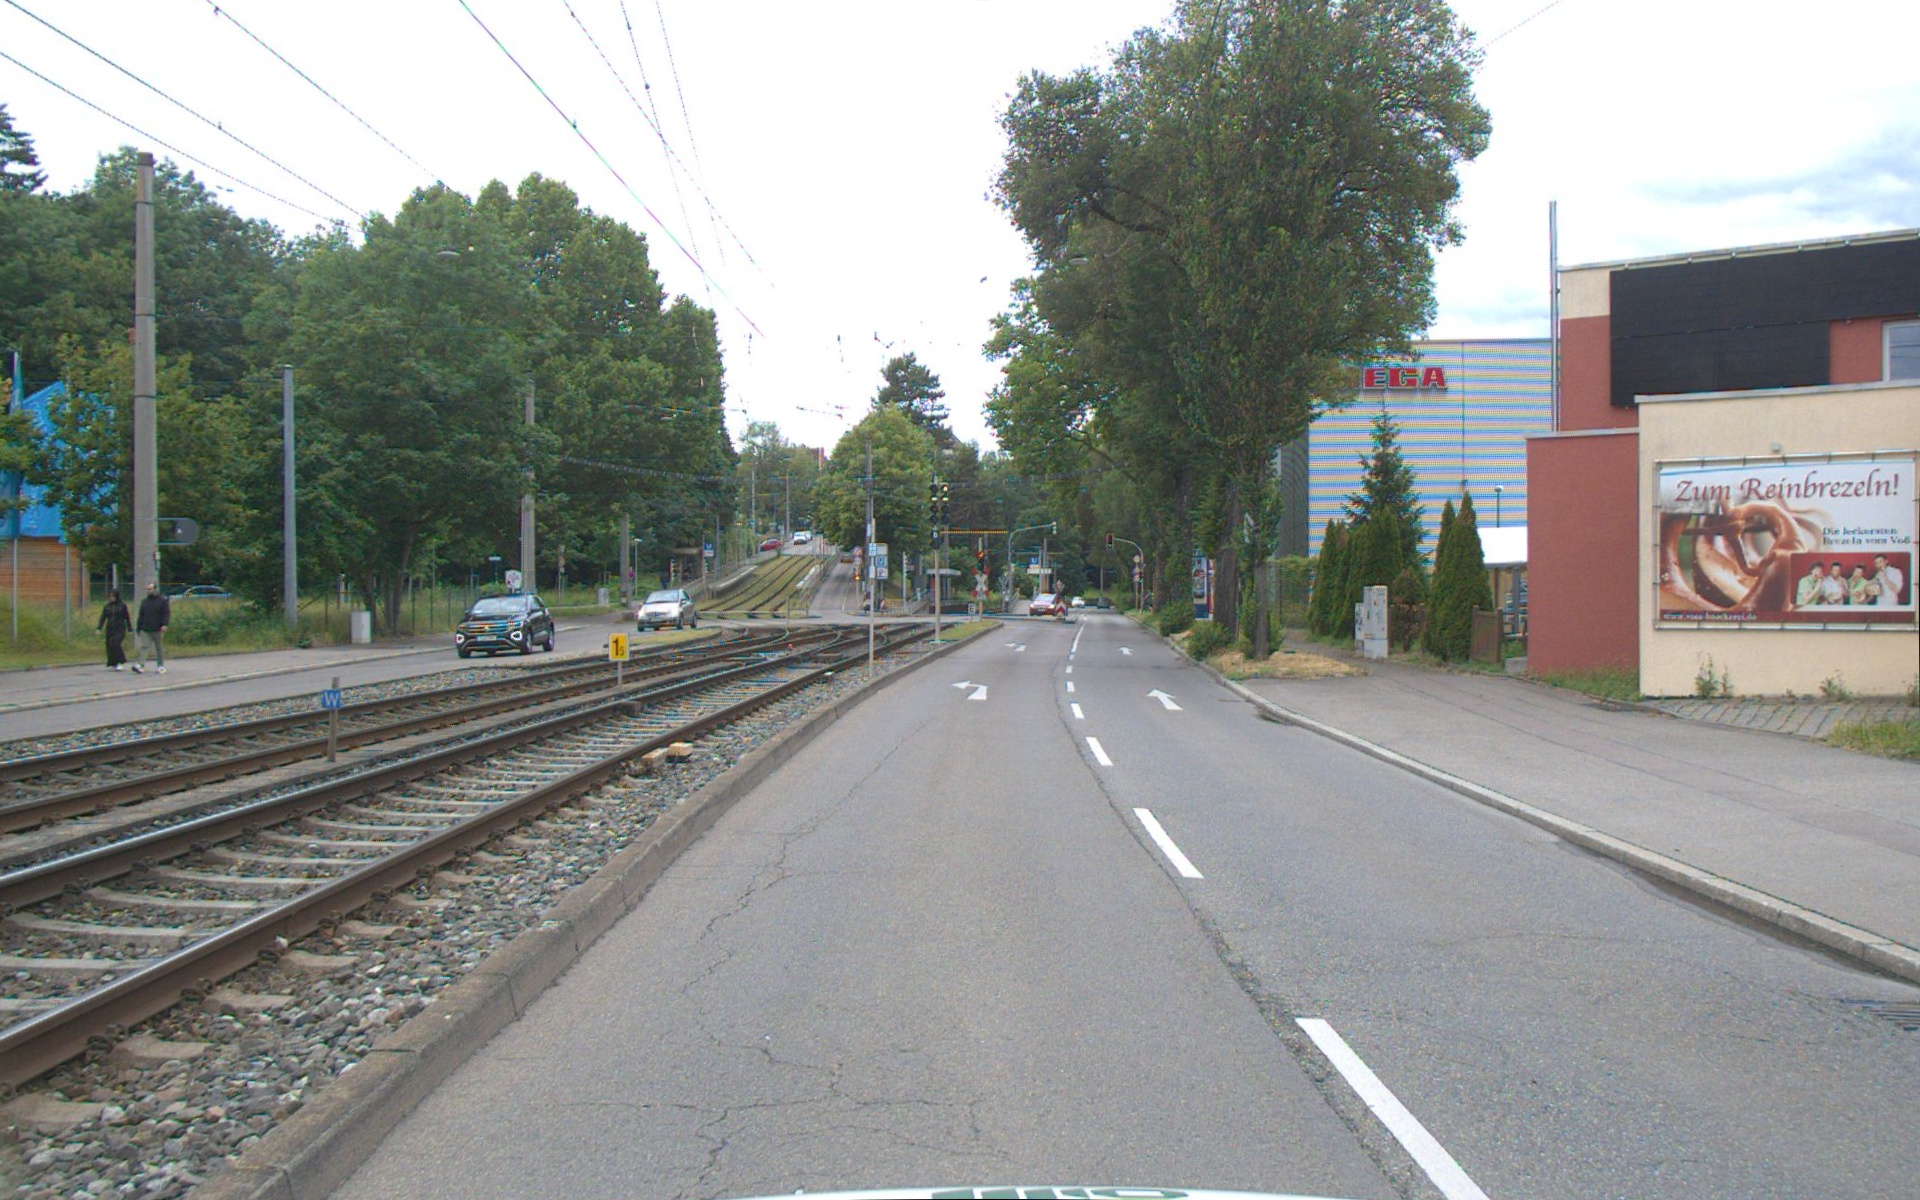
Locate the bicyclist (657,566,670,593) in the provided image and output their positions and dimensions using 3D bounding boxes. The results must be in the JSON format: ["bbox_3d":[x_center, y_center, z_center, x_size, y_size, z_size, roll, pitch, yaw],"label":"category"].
[{"bbox_3d":[-21.041,-1.442,117.381,0.805,1.881,1.051,0,0,-3],"label":"bicyclist"}]

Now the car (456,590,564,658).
[{"bbox_3d":[-11.530,0.576,42.647,1.653,1.558,4.255,-3,0,-2],"label":"car"}]

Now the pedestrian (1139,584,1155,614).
[{"bbox_3d":[12.724,-0.045,112.400,0.658,2.049,0.926,0,-1,-28],"label":"pedestrian"}]

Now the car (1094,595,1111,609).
[{"bbox_3d":[19.040,0.248,220.547,1.952,1.847,4.000,0,0,1],"label":"car"}]

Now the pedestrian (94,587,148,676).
[{"bbox_3d":[-16.928,0.622,33.377,0.615,1.743,0.856,1,0,1],"label":"pedestrian"}]

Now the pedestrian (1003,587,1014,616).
[{"bbox_3d":[3.203,0.110,109.137,0.753,1.885,0.910,0,0,1],"label":"pedestrian"}]

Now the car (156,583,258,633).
[{"bbox_3d":[-27.779,0.280,61.161,1.953,1.780,3.999,0,0,-1],"label":"car"}]

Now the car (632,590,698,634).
[{"bbox_3d":[-11.654,0.455,65.612,1.853,1.558,4.255,-3,0,-2],"label":"car"}]

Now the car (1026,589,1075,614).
[{"bbox_3d":[5.944,0.103,108.405,1.952,1.542,4.501,1,0,20],"label":"car"}]

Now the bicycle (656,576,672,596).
[{"bbox_3d":[-21.048,-0.974,117.646,0.807,1.367,2.994,-1,0,-4],"label":"bicycle"}]

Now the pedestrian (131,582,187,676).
[{"bbox_3d":[-16.108,0.566,33.288,0.662,1.844,0.856,1,0,1],"label":"pedestrian"}]
